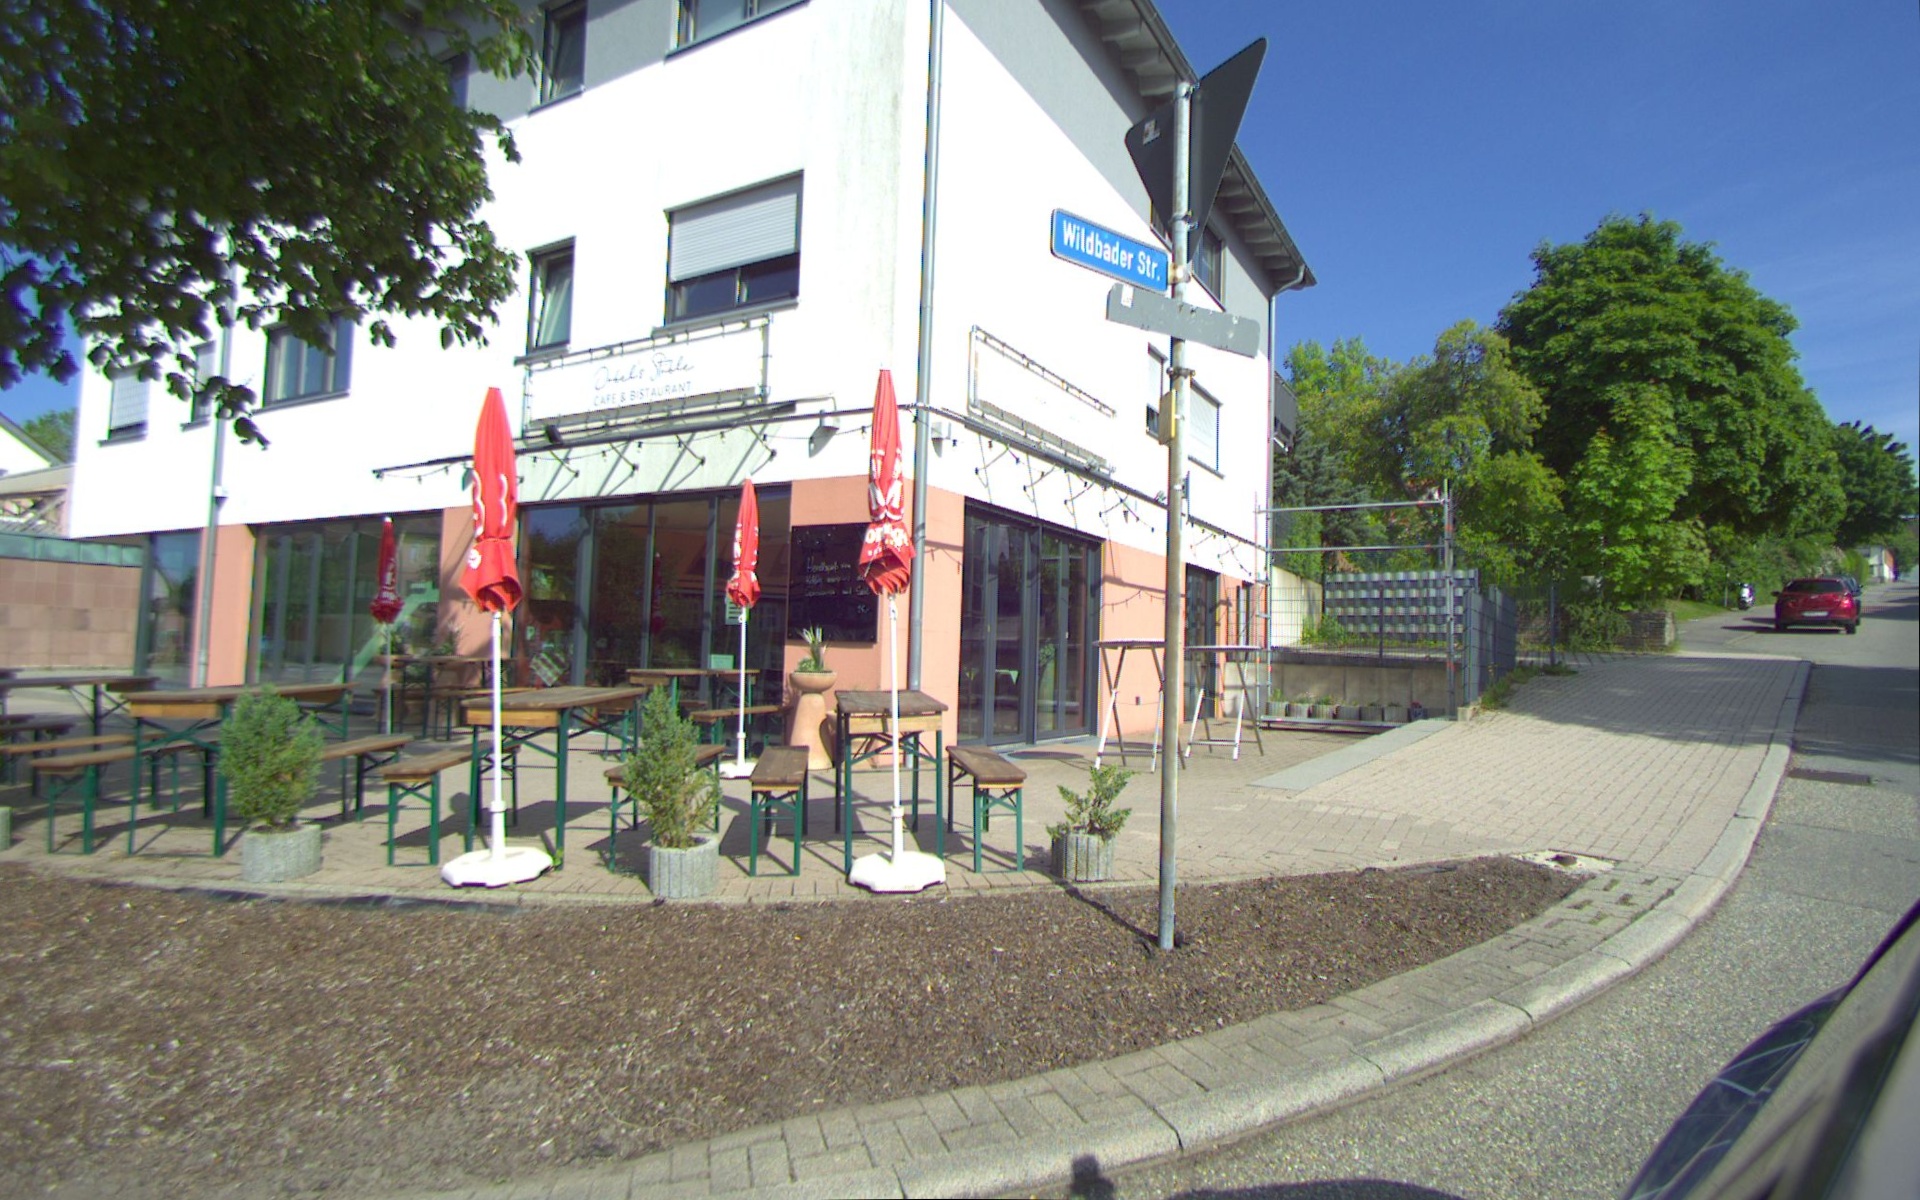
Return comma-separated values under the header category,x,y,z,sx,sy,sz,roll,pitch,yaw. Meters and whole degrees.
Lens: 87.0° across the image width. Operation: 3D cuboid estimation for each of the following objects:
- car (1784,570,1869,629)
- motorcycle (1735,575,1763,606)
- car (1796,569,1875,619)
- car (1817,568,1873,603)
category,x,y,z,sx,sy,sz,roll,pitch,yaw
car,23.907,-0.049,27.888,1.619,1.517,3.752,0,1,43
motorcycle,31.749,-0.406,40.728,0.782,1.196,2.156,0,1,41
car,27.655,-0.210,31.930,1.770,1.489,3.752,0,1,43
car,39.838,-0.663,45.516,1.770,1.489,3.752,0,1,43
